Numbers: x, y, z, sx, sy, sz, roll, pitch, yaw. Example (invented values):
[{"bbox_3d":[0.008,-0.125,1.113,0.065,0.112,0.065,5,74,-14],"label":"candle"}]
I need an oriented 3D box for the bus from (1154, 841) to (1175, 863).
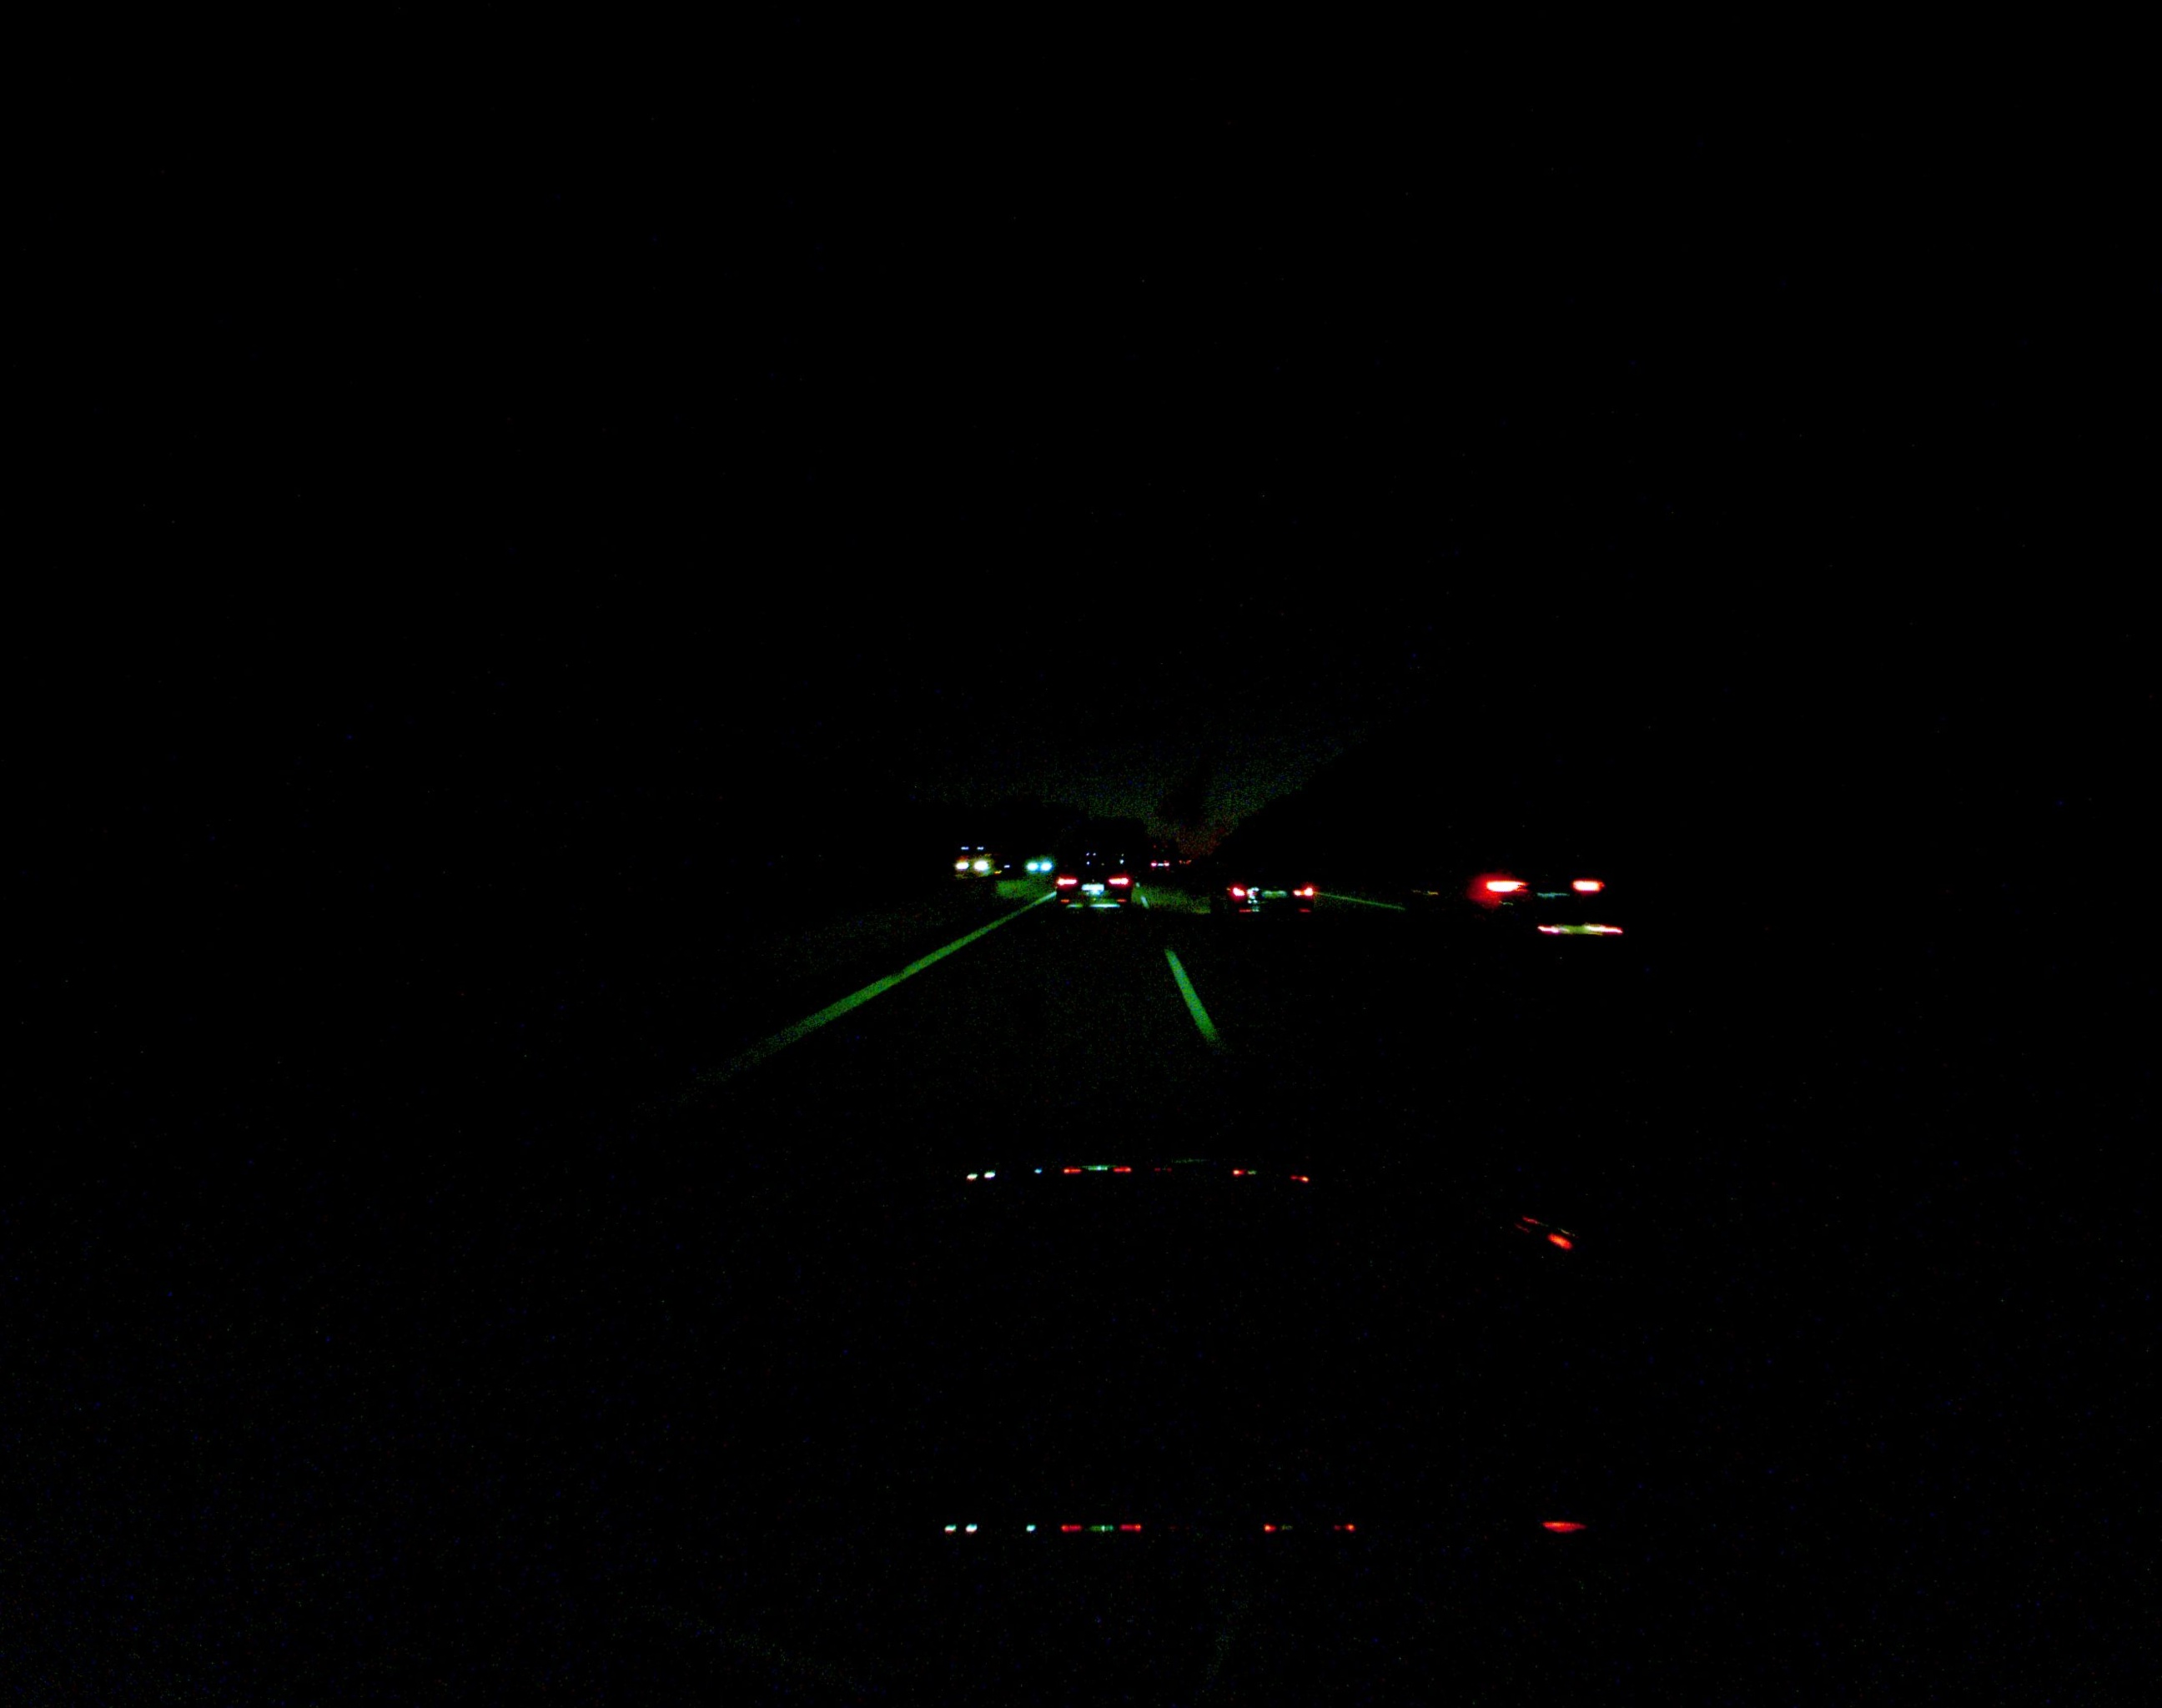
[{"bbox_3d":[17.371,-0.376,168.688,2.635,3.994,14.746,-4,-2,12],"label":"bus"}]

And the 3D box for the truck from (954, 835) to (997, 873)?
[{"bbox_3d":[-11.760,0.018,91.298,3.421,4.007,6.782,0,-1,4],"label":"truck"}]

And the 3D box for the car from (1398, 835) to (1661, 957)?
[{"bbox_3d":[7.390,0.603,14.200,1.985,1.717,5.172,-1,0,3],"label":"car"}]

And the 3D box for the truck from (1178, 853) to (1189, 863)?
[{"bbox_3d":[30.081,1.123,238.873,2.535,3.016,9.061,0,0,4],"label":"truck"}]

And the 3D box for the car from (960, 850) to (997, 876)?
[{"bbox_3d":[-9.057,0.789,72.682,2.044,2.197,6.971,-1,0,3],"label":"car"}]

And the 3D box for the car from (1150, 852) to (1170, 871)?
[{"bbox_3d":[7.724,0.784,79.502,1.902,1.730,4.006,2,-1,5],"label":"car"}]

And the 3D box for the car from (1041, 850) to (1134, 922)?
[{"bbox_3d":[0.186,0.708,20.540,2.098,1.618,4.205,0,0,1],"label":"car"}]

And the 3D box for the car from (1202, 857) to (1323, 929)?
[{"bbox_3d":[3.993,0.781,18.729,1.828,1.401,5.072,-1,0,2],"label":"car"}]

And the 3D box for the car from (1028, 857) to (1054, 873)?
[{"bbox_3d":[-3.989,1.092,82.459,2.056,1.622,4.700,-1,0,4],"label":"car"}]

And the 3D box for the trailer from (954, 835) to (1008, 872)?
[{"bbox_3d":[-11.466,0.034,95.262,3.421,4.006,14.776,0,0,4],"label":"trailer"}]

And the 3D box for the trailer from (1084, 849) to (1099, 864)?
[{"bbox_3d":[2.830,0.698,212.886,3.041,3.689,7.243,0,-1,7],"label":"trailer"}]
